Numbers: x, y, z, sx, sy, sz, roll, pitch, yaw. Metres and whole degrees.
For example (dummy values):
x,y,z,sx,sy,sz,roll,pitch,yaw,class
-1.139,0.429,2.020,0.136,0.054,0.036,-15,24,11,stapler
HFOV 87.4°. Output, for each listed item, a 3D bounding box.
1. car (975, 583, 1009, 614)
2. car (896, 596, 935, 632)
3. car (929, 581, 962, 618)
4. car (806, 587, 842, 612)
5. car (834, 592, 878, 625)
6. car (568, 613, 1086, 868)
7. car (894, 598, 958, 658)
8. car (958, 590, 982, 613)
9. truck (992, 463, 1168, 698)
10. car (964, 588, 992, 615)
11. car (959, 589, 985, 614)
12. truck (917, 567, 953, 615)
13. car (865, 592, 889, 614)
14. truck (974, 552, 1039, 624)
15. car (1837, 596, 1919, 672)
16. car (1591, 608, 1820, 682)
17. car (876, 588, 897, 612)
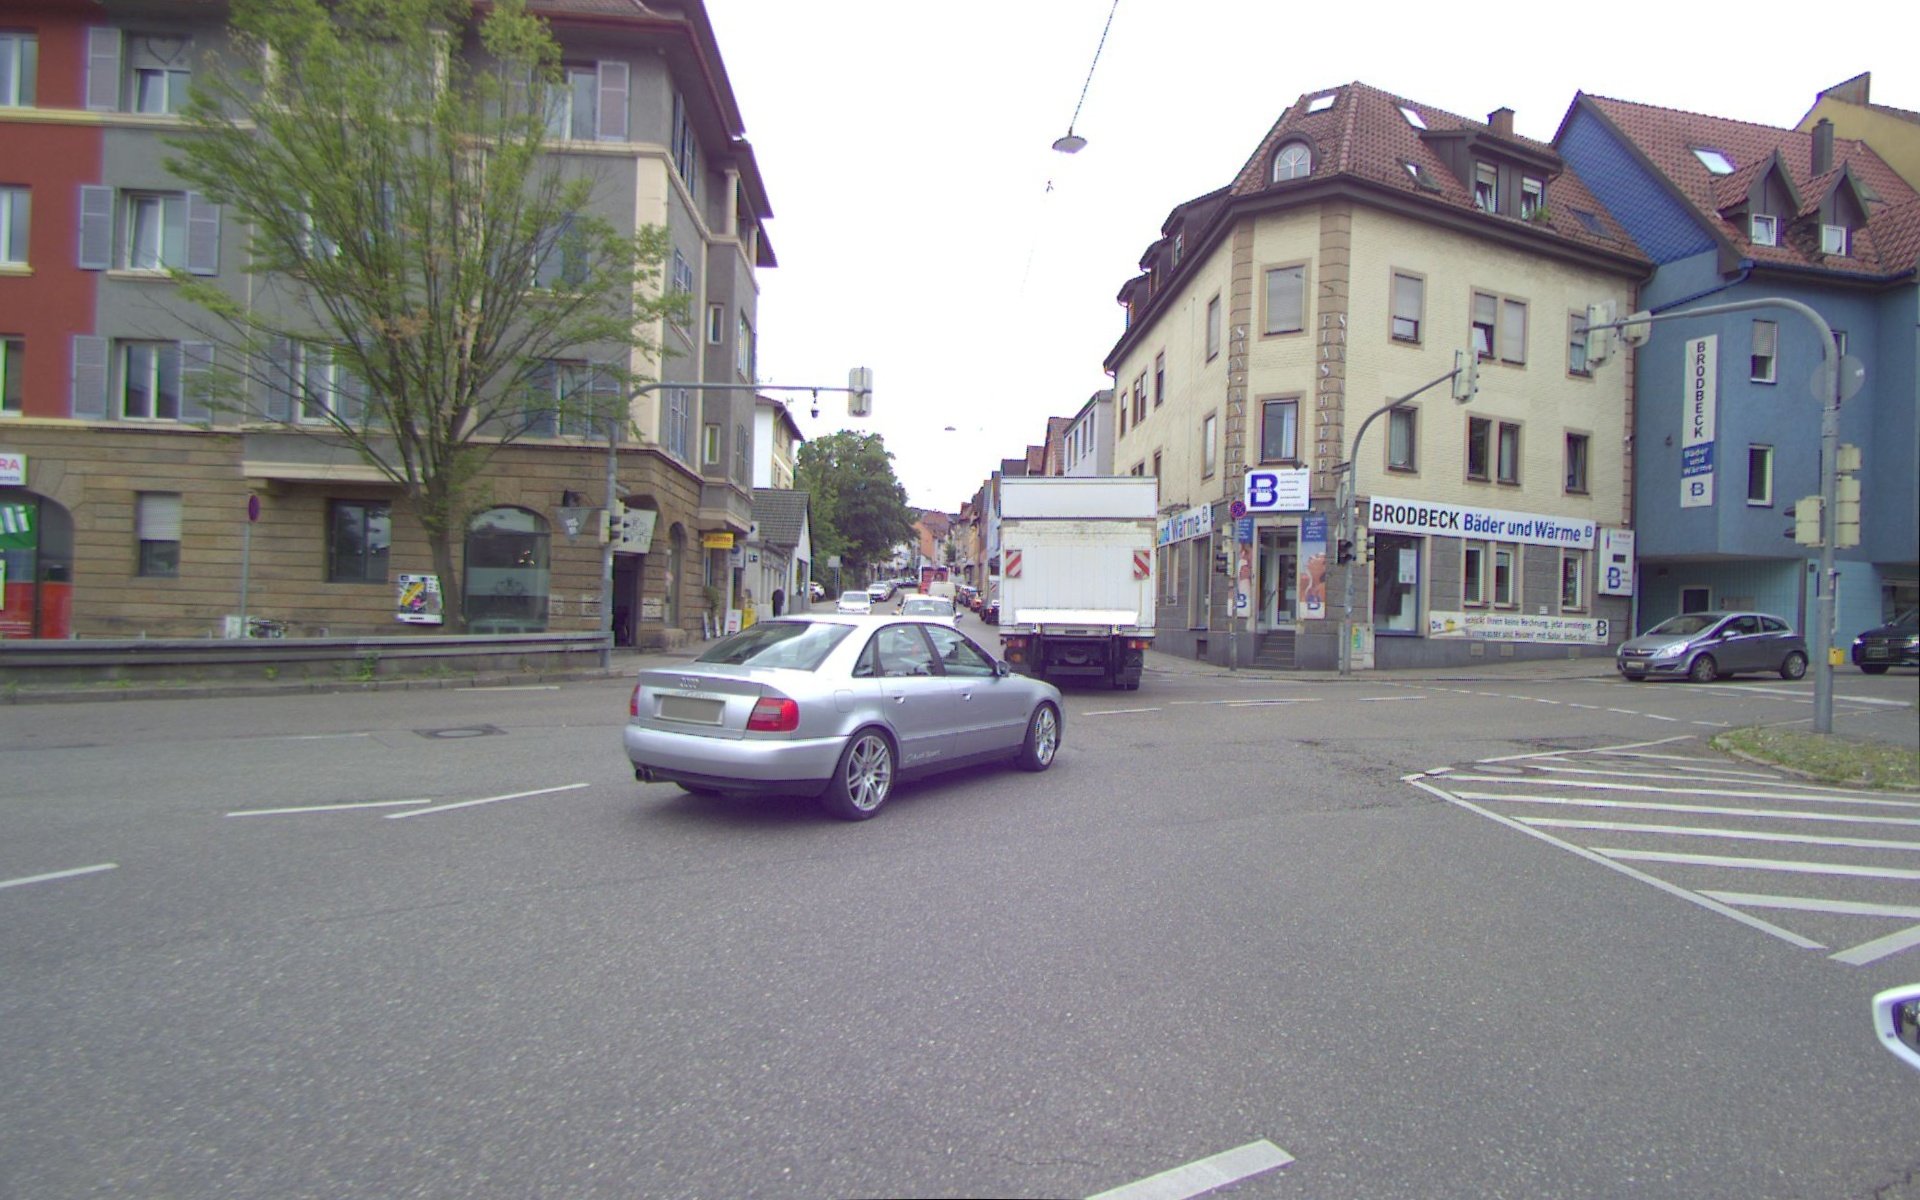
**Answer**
x,y,z,sx,sy,sz,roll,pitch,yaw,class
2.153,-0.098,69.083,1.961,2.040,3.998,2,0,-3,car
-1.982,0.598,45.261,1.620,1.493,4.053,2,0,-2,car
-0.991,-0.010,64.912,1.961,2.292,3.998,2,0,-3,car
-8.456,-0.032,62.813,1.761,1.449,3.961,2,0,-2,car
-4.878,0.396,47.753,1.761,1.449,3.961,2,0,-2,car
-0.740,0.842,8.028,1.679,1.360,4.253,1,1,35,car
-0.937,0.729,28.005,1.620,1.493,4.053,2,0,-2,car
0.938,0.162,93.204,1.961,2.040,3.998,2,0,-3,car
2.429,-0.290,20.064,2.655,3.622,8.520,2,0,7,truck
1.385,0.112,80.267,1.961,2.040,3.998,2,0,-3,car
0.995,0.130,86.373,1.961,2.040,3.998,2,0,-3,car
-2.085,-0.671,80.847,2.581,3.614,5.760,2,0,-4,truck
-7.078,0.248,85.991,1.761,1.830,3.961,2,0,-2,car
2.335,-0.573,53.478,2.658,3.486,8.512,2,0,-2,truck
23.042,0.806,23.256,4.600,1.658,1.817,1,-2,-14,car
15.877,0.930,21.421,4.223,1.425,1.669,-1,-1,-15,car
-7.006,-0.025,95.946,1.761,2.167,3.961,2,0,-2,car
